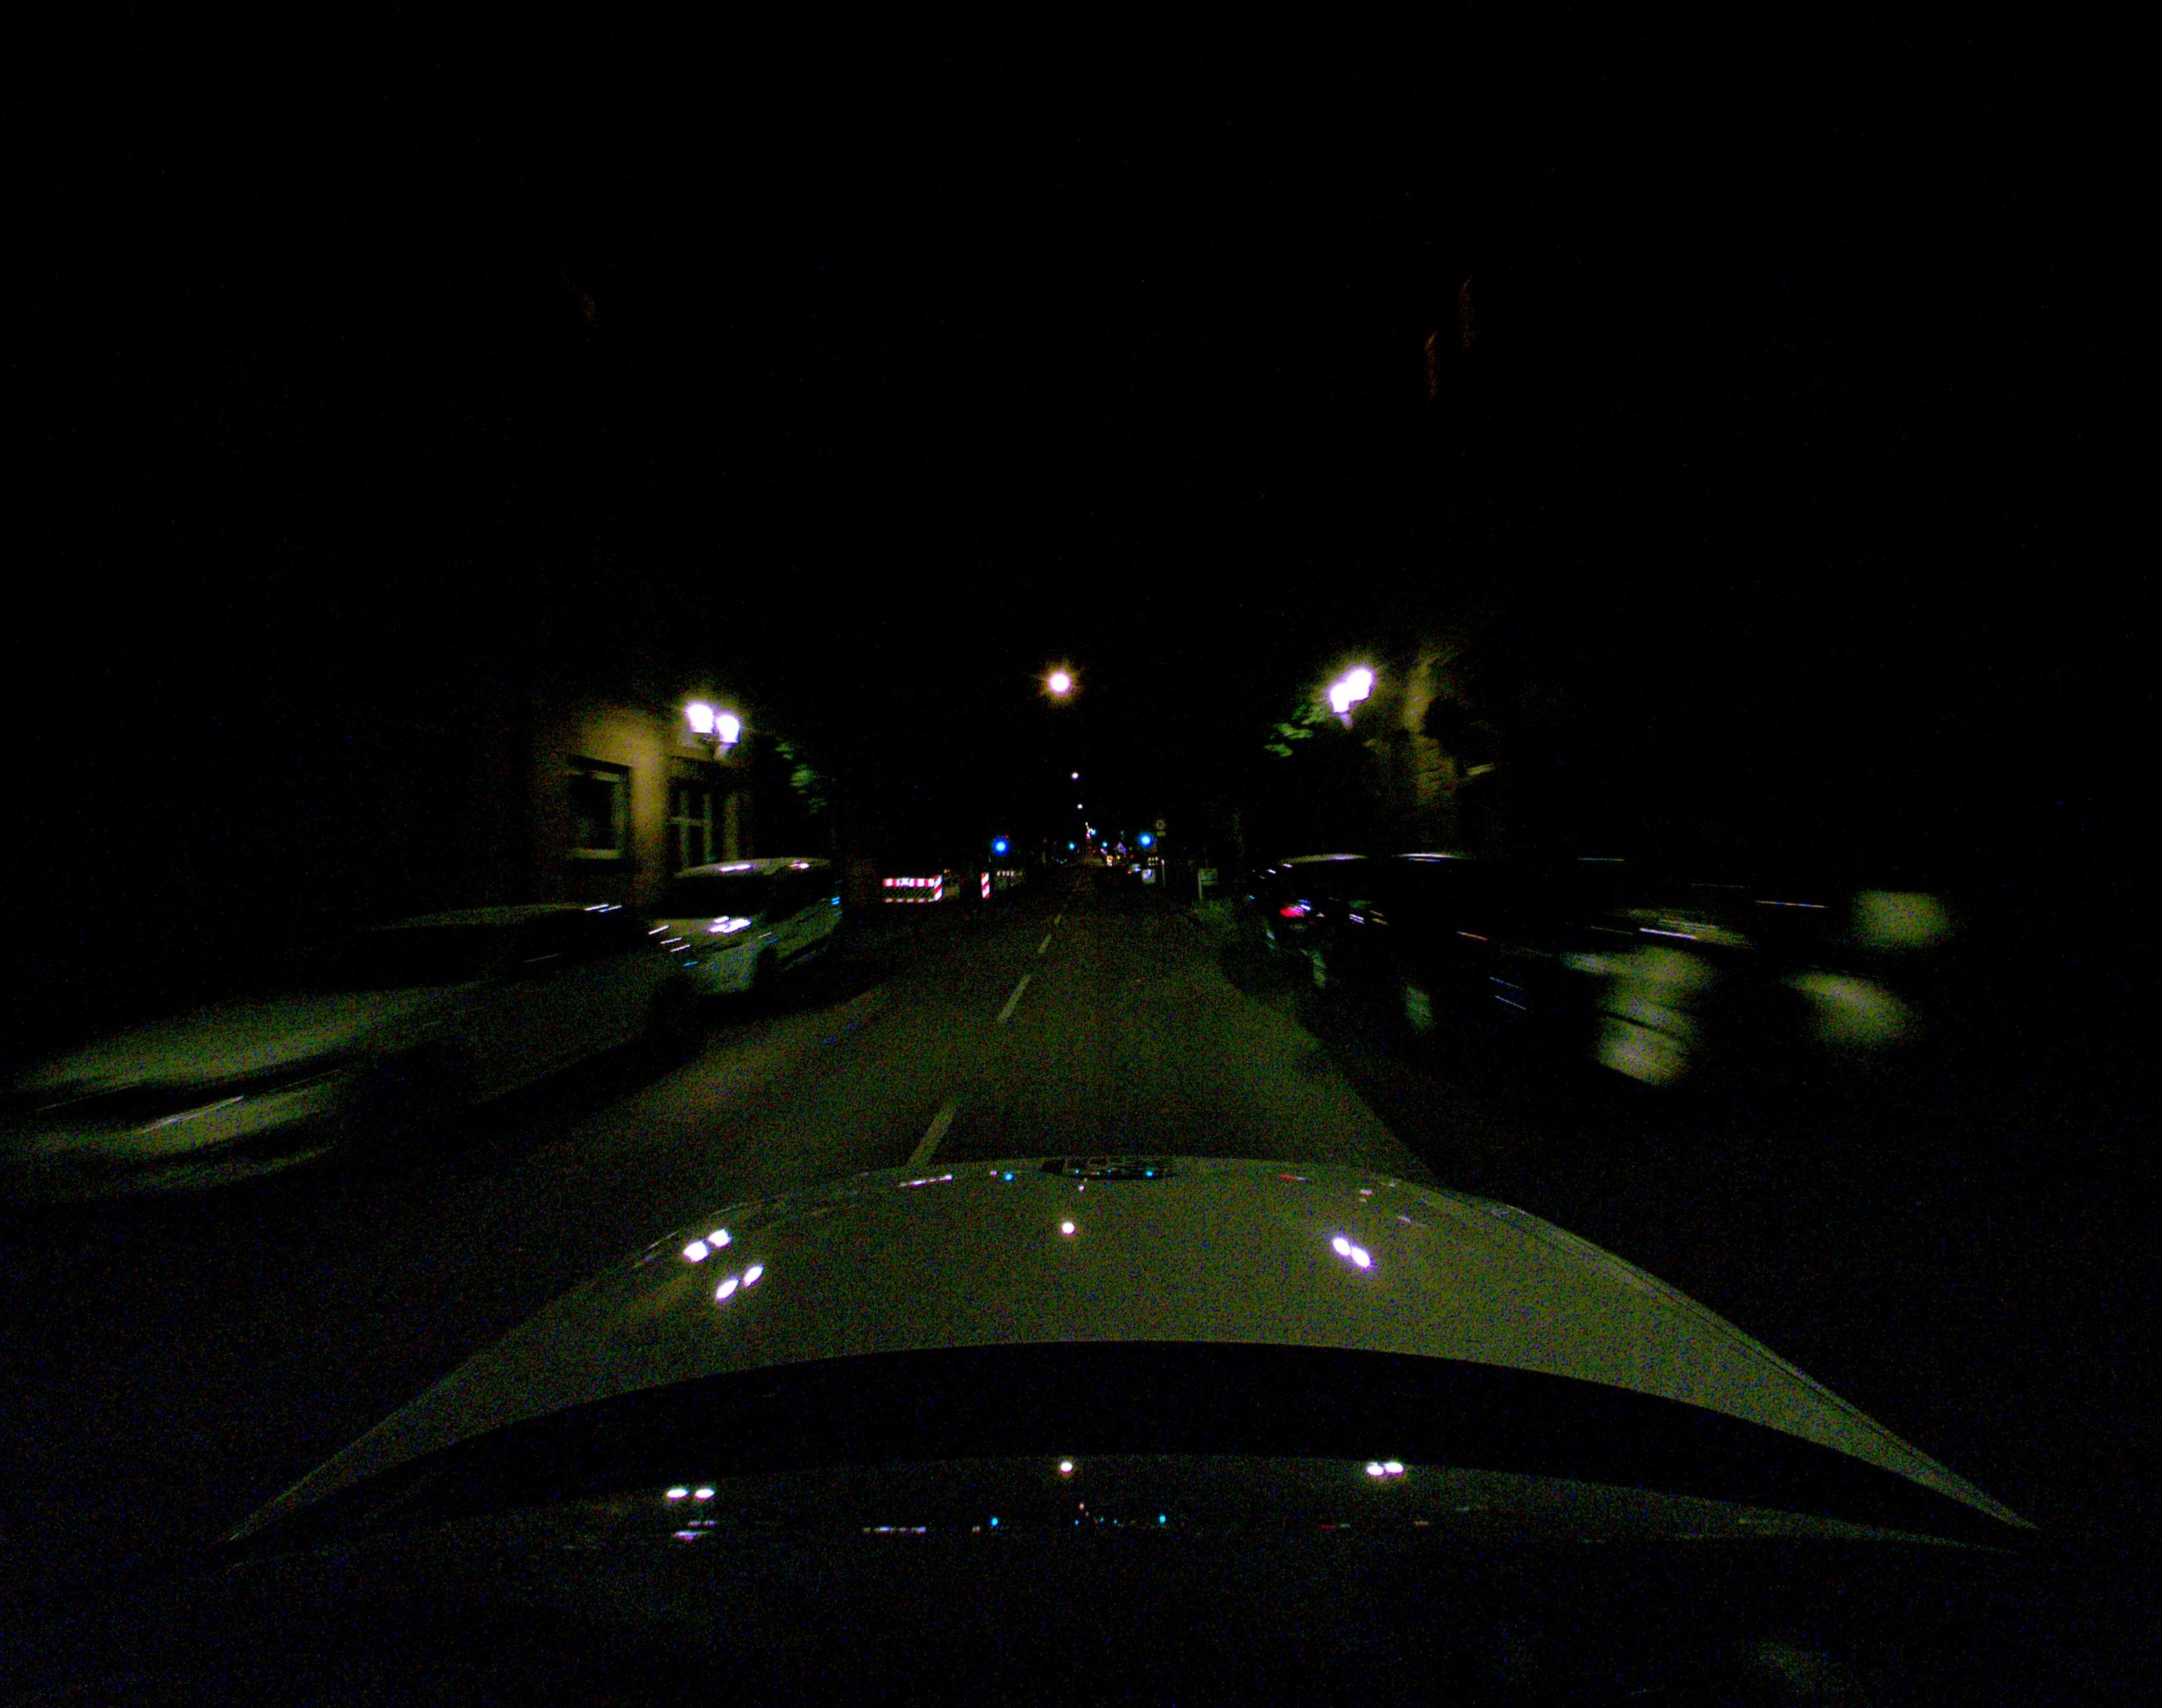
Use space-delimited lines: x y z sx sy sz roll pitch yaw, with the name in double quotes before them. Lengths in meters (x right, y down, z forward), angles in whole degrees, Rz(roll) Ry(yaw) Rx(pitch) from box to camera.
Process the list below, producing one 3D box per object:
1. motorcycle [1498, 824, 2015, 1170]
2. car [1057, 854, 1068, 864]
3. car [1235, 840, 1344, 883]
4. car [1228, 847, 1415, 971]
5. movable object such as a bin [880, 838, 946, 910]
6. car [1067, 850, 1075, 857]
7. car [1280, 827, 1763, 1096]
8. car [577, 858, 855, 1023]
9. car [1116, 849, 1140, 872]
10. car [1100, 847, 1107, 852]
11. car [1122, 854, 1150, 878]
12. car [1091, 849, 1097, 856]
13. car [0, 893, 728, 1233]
"motorcycle" 3.513 0.655 4.348 2.052 1.406 0.921 -5 0 -9
"car" -3.176 0.889 138.722 1.665 1.443 4.205 -4 1 1
"car" 8.630 0.326 33.955 4.003 1.422 1.851 -4 -2 -1
"car" 3.399 0.695 12.313 1.729 1.454 4.003 -4 0 3
"movable object such as a bin" -6.767 0.758 33.119 1.565 2.626 3.911 -5 0 2
"car" -2.598 -0.150 210.797 1.867 1.544 4.205 -4 1 1
"car" 3.223 0.666 7.171 1.727 1.501 4.466 -4 0 0
"car" -5.038 1.045 12.163 1.877 1.843 4.814 -3 0 0
"car" 4.076 0.571 71.323 1.730 1.855 4.314 -5 0 -1
"car" 7.205 -1.549 261.204 1.867 1.544 4.205 -4 1 1
"car" 4.071 0.865 60.331 1.734 1.477 4.001 -6 0 1
"car" 4.033 -0.451 255.022 1.866 1.814 4.206 -4 1 2
"car" -4.932 1.187 6.578 1.832 1.450 4.883 -3 0 2
